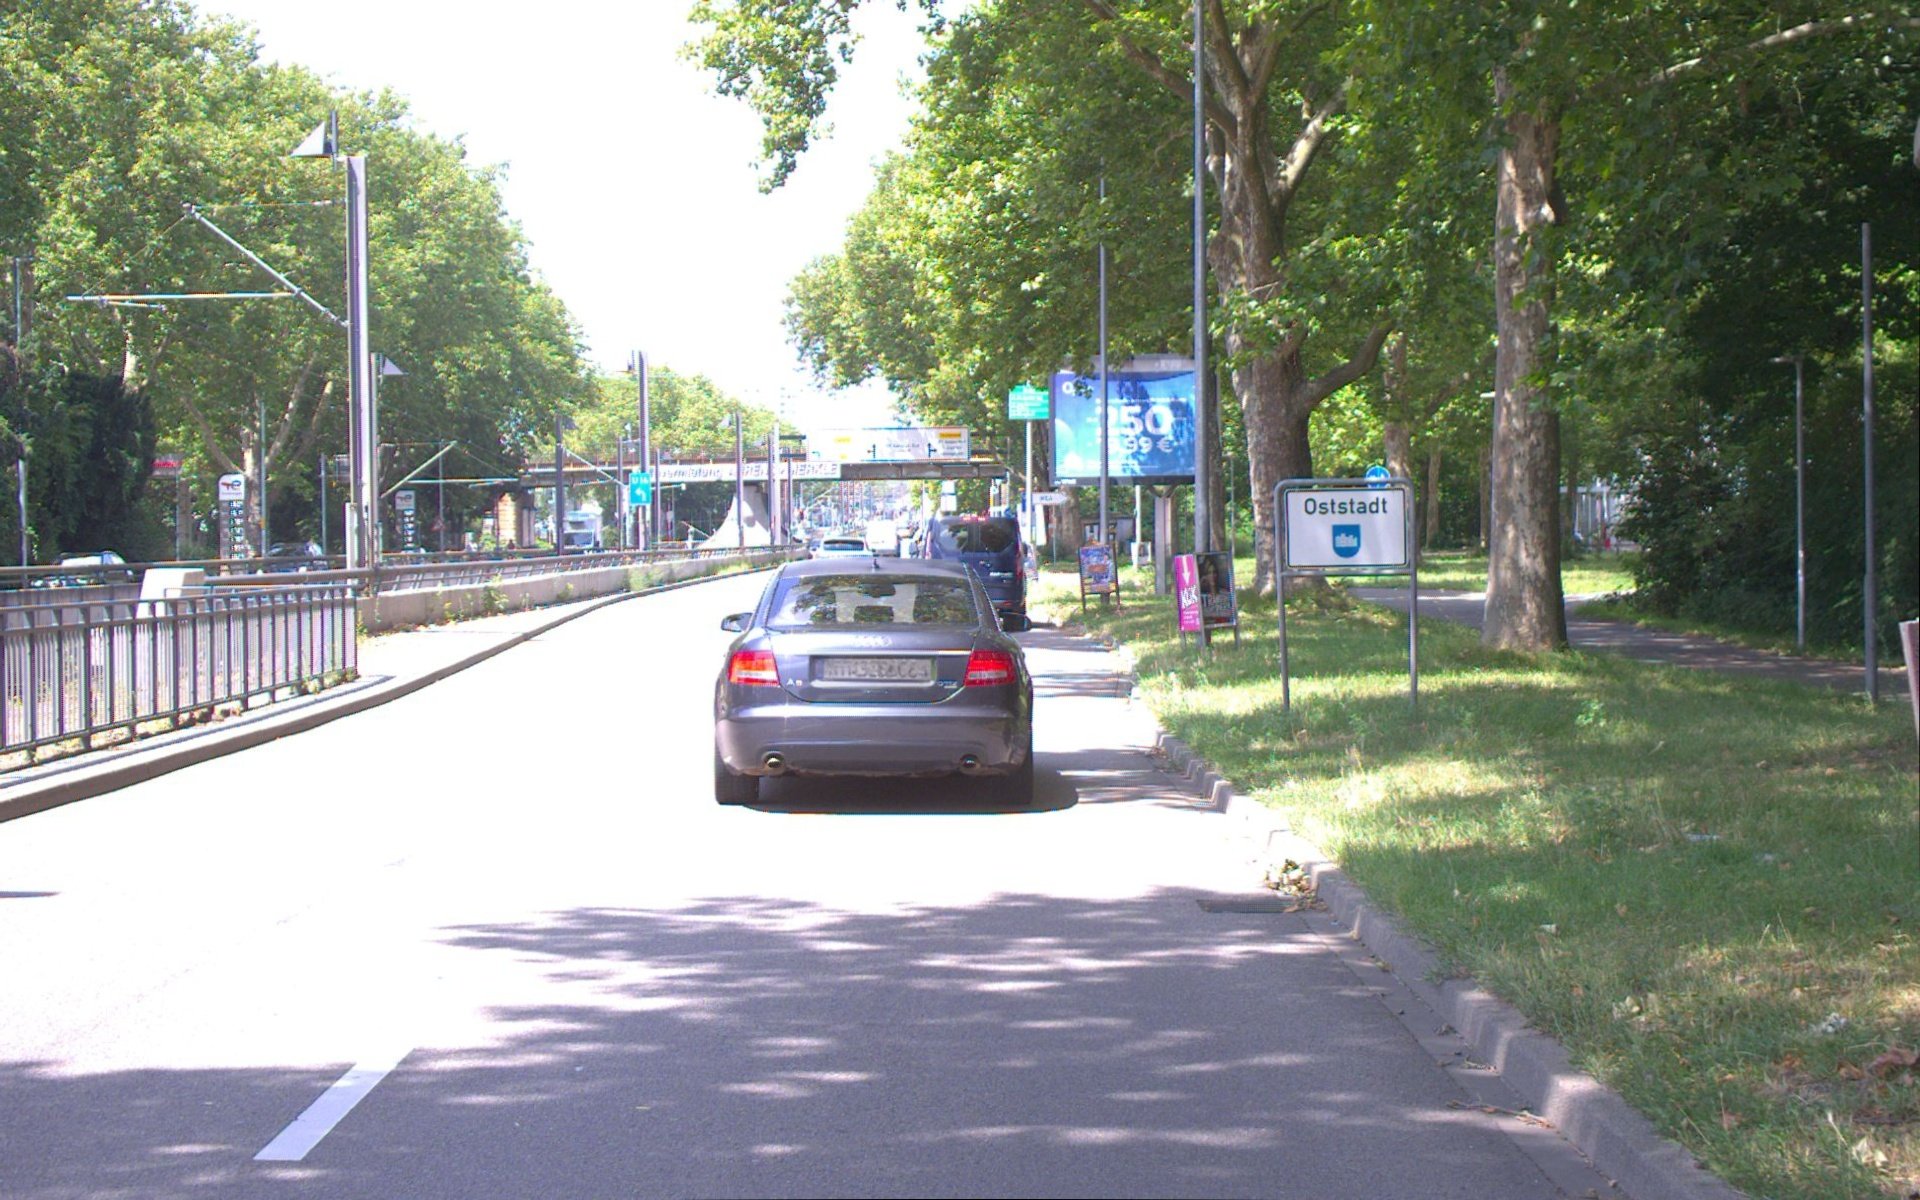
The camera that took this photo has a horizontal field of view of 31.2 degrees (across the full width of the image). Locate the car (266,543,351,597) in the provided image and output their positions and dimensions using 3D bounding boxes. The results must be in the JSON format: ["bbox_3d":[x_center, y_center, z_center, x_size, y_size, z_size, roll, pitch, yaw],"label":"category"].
[{"bbox_3d":[-22.153,-1.038,116.977,1.868,1.678,4.384,3,1,2],"label":"car"}]

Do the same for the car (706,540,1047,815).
[{"bbox_3d":[-0.587,0.383,20.646,1.842,1.479,4.001,0,1,-4],"label":"car"}]

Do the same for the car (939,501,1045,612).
[{"bbox_3d":[0.616,-0.816,63.325,1.848,1.953,4.144,1,1,2],"label":"car"}]

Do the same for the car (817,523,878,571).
[{"bbox_3d":[-3.519,-1.645,107.105,1.845,1.459,4.001,0,1,-2],"label":"car"}]

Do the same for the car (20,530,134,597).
[{"bbox_3d":[-22.942,-0.965,89.472,1.744,1.678,4.384,0,1,2],"label":"car"}]

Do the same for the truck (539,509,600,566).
[{"bbox_3d":[-20.886,-3.338,184.241,2.990,3.010,8.002,0,1,-4],"label":"truck"}]
